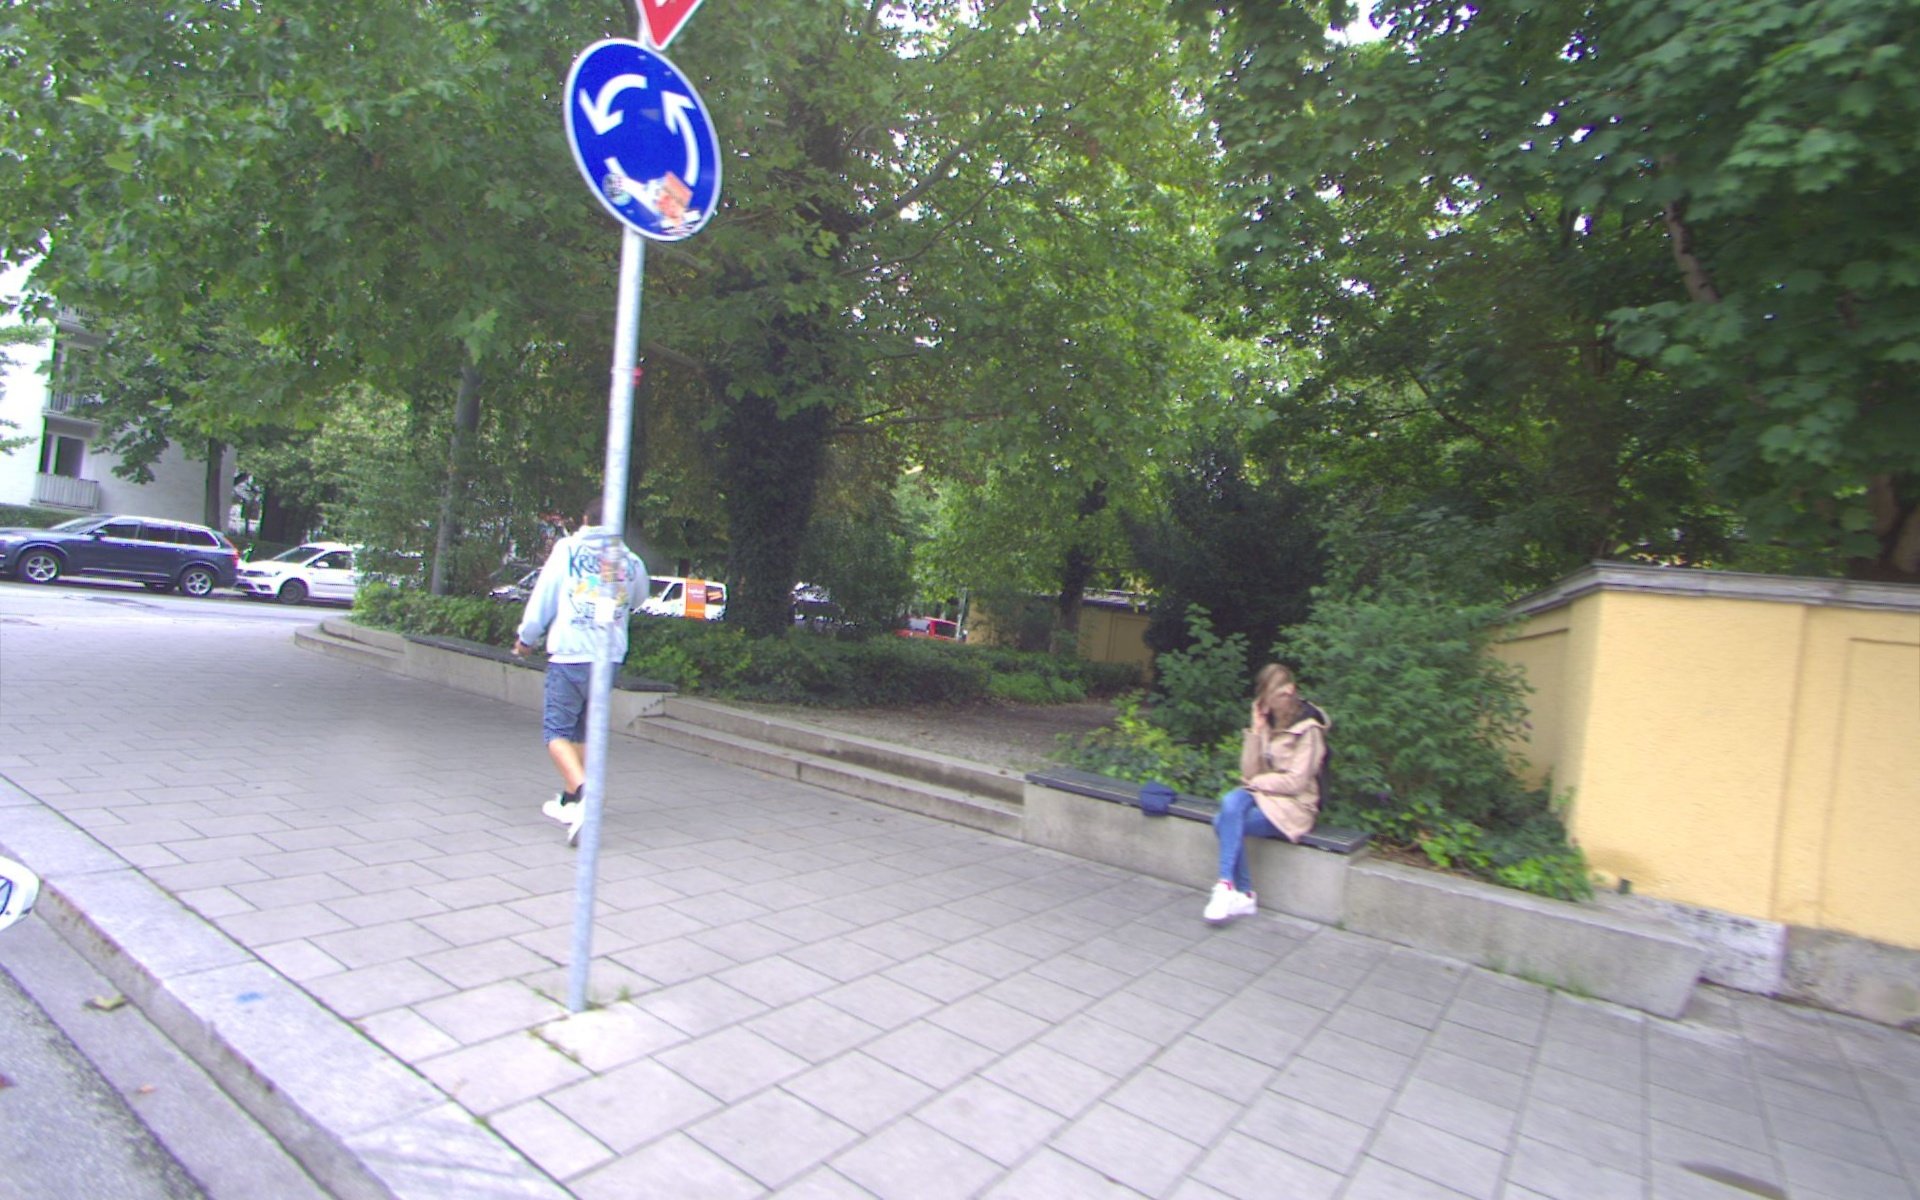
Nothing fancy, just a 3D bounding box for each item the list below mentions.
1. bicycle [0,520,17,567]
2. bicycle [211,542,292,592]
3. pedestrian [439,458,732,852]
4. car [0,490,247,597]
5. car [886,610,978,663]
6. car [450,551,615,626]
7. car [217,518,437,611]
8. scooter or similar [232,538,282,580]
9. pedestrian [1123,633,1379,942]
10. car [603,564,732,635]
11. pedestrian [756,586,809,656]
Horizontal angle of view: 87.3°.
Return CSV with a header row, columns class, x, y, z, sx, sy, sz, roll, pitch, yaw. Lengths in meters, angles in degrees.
class,x,y,z,sx,sy,sz,roll,pitch,yaw
bicycle,-22.677,-1.390,22.783,0.482,1.061,1.831,7,-1,21
bicycle,-19.778,-0.919,28.091,1.796,1.163,0.538,7,0,4
pedestrian,-1.946,0.252,5.219,1.037,1.792,0.872,7,0,42
car,-19.677,-1.262,23.120,1.965,1.812,4.911,6,-2,27
car,-1.108,1.582,42.714,1.961,1.860,4.714,6,-2,23
car,-14.406,-0.331,34.287,1.859,1.956,5.209,6,-2,22
car,-17.412,-0.908,27.998,1.803,1.941,4.847,6,-2,26
scooter or similar,-23.372,-1.357,33.474,0.393,1.207,1.214,7,-1,29
pedestrian,1.563,0.929,5.345,0.863,1.354,1.009,7,0,38
car,-11.716,0.052,40.724,1.918,2.299,5.243,6,-2,24
pedestrian,-5.047,0.617,28.643,0.861,1.853,1.051,7,0,25
